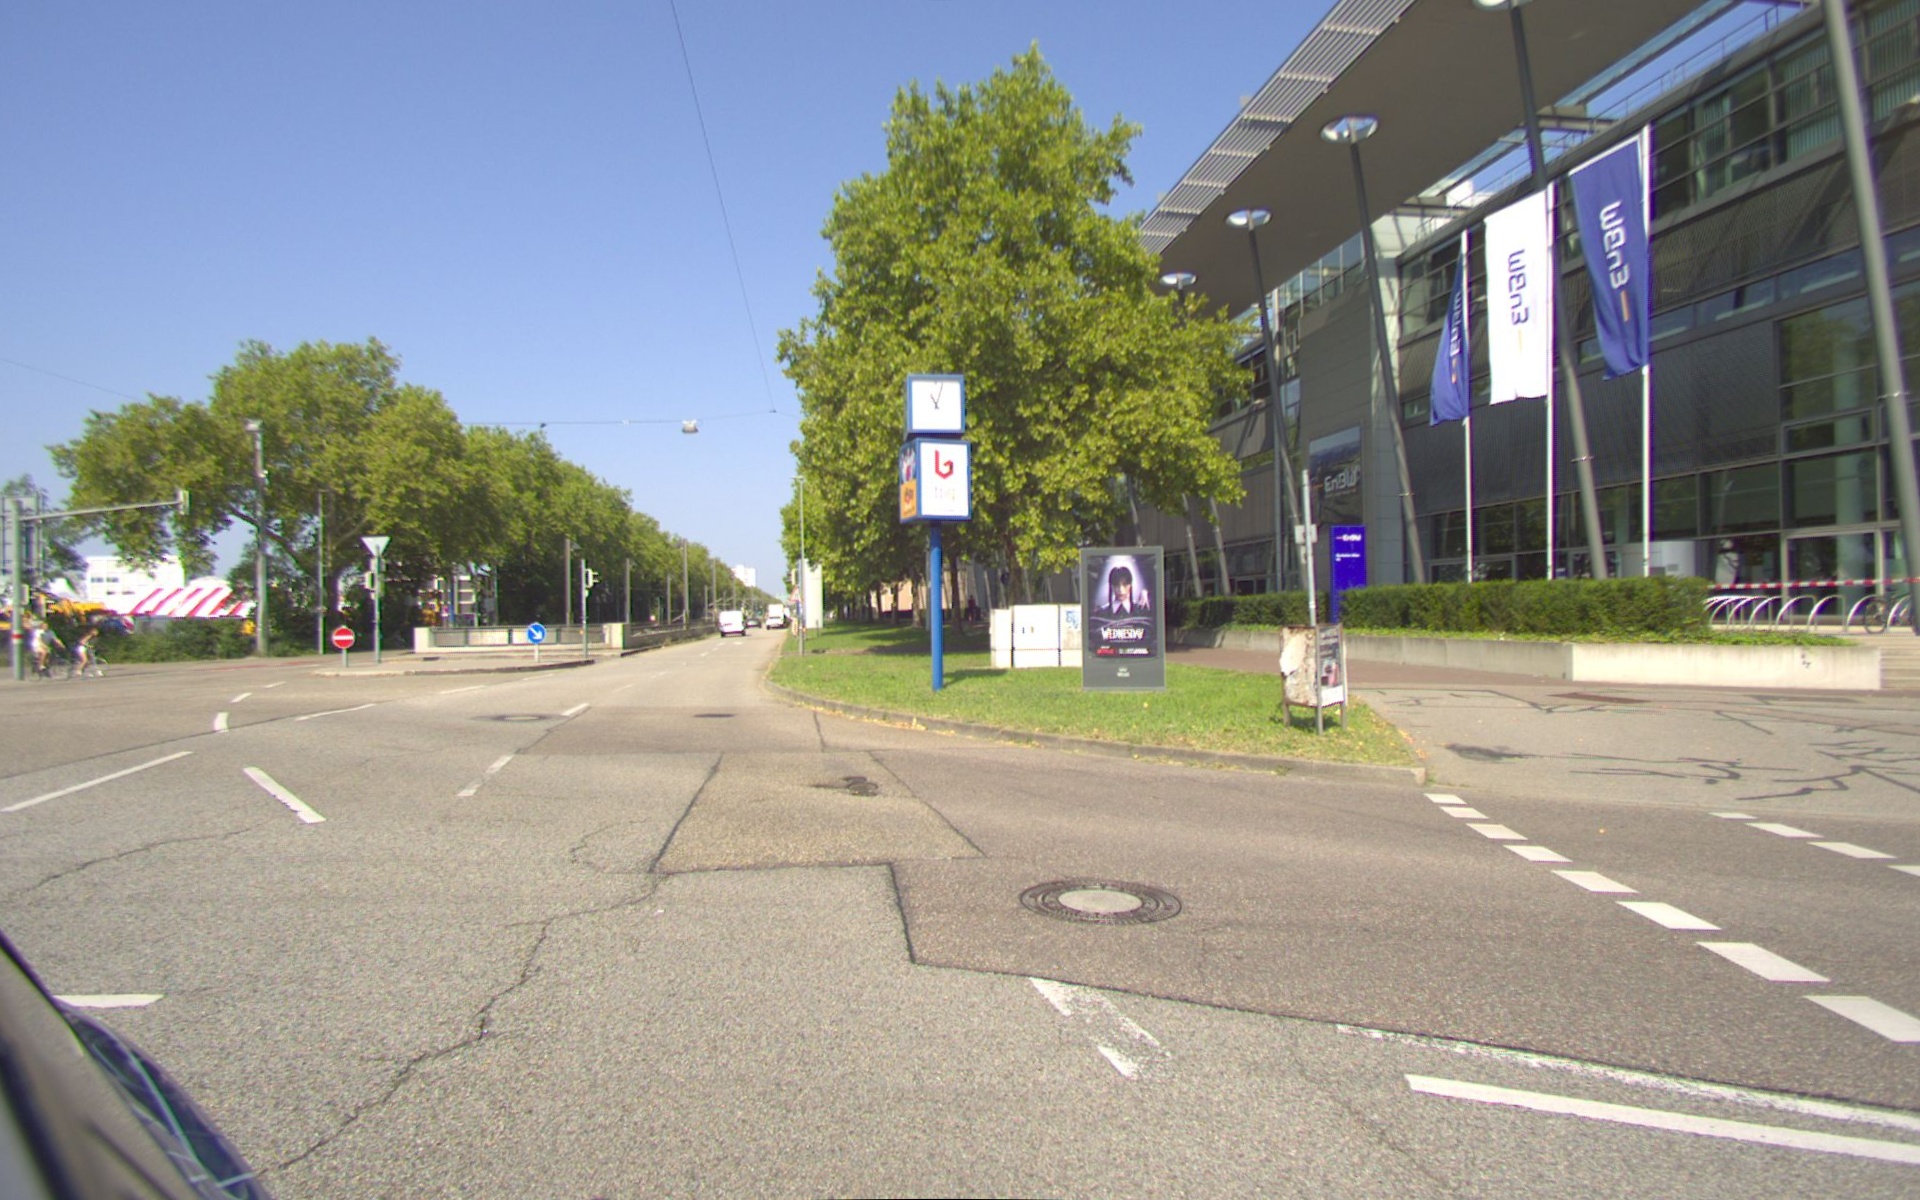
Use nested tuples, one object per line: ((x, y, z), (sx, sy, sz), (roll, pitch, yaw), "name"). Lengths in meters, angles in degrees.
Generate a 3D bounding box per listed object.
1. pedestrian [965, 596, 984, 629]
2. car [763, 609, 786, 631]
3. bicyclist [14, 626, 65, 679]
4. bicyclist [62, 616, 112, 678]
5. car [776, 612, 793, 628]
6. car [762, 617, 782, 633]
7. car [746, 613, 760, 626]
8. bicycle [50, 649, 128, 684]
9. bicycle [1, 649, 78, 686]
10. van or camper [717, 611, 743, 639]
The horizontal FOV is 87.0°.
((0.919, 0.777, 64.607), (0.934, 2.029, 1.351), (-4, -1, -8), "pedestrian")
((-20.310, 2.222, 110.850), (2.256, 2.249, 4.666), (-4, 0, -11), "car")
((-29.413, 1.663, 32.342), (1.193, 1.606, 0.595), (-4, -1, 15), "bicyclist")
((-29.730, 1.586, 34.477), (1.192, 2.029, 0.596), (-4, -1, 10), "bicyclist")
((-25.828, 2.962, 149.153), (2.256, 2.095, 4.666), (-4, 0, -11), "car")
((-19.682, 2.616, 105.767), (1.968, 1.464, 4.009), (-4, 0, -11), "car")
((-33.341, 3.136, 162.979), (1.967, 2.029, 4.011), (-4, -1, -15), "car")
((-29.687, 2.274, 34.498), (2.237, 1.096, 0.770), (-3, -3, 9), "bicycle")
((-29.452, 2.163, 32.371), (2.200, 1.096, 0.769), (-2, -1, 16), "bicycle")
((-17.504, 1.833, 76.825), (1.816, 1.962, 4.961), (-2, 0, -13), "van or camper")
